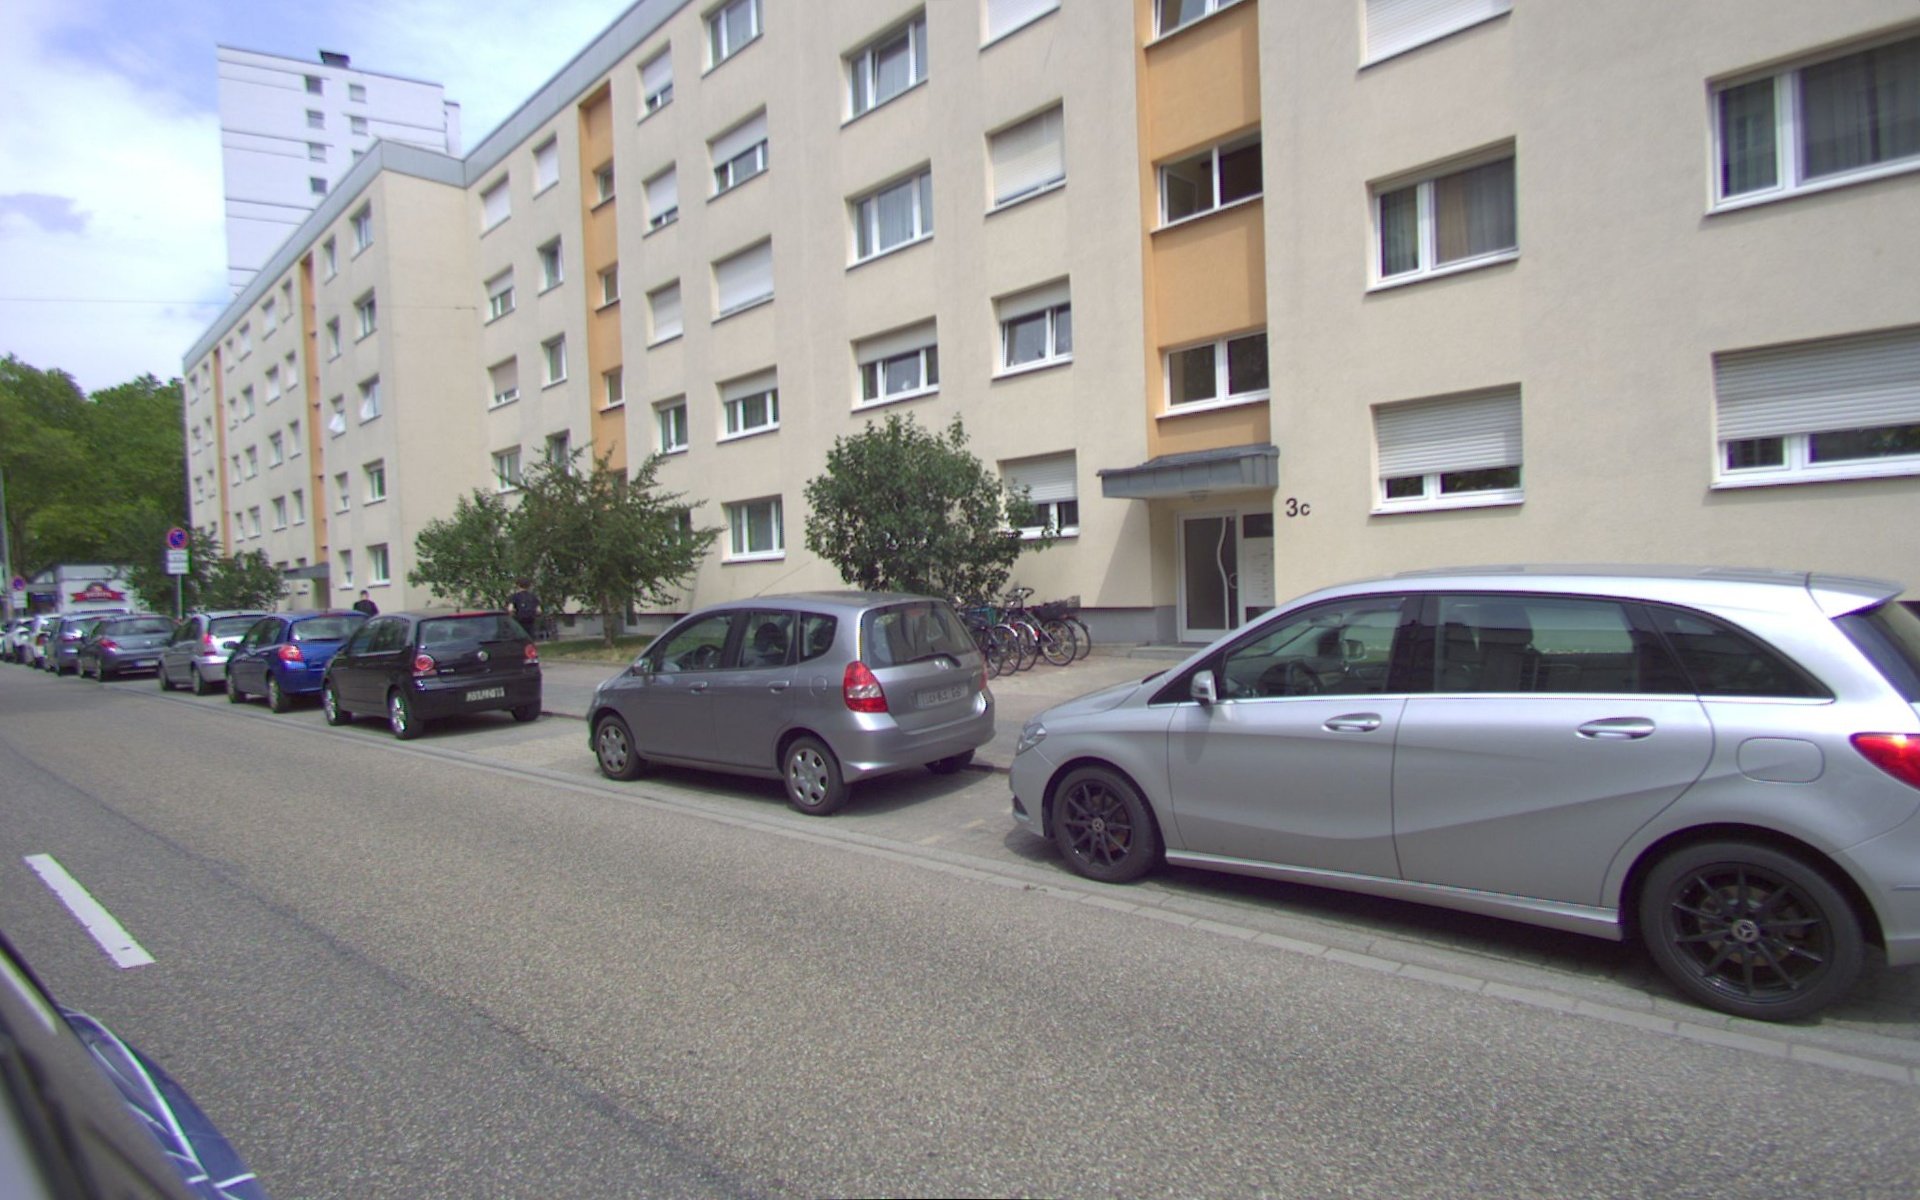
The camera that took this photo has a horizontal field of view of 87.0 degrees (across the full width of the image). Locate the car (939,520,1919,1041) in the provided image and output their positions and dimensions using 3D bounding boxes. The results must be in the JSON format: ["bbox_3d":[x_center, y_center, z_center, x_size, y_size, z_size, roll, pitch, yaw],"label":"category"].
[{"bbox_3d":[2.186,0.544,4.894,4.567,1.591,1.736,-2,2,42],"label":"car"}]

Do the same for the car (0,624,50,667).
[{"bbox_3d":[-35.960,1.708,38.394,3.989,1.483,1.690,-2,2,43],"label":"car"}]

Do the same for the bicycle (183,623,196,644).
[{"bbox_3d":[-40.071,1.738,52.611,0.406,1.045,1.808,-2,1,-40],"label":"bicycle"}]

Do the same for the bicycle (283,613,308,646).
[{"bbox_3d":[-26.439,1.176,40.282,0.549,1.260,1.920,-3,0,-40],"label":"bicycle"}]

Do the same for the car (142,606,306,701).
[{"bbox_3d":[-14.429,0.991,19.770,3.848,1.573,1.653,-2,2,40],"label":"car"}]

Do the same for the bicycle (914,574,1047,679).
[{"bbox_3d":[0.258,0.396,14.738,2.130,1.423,0.457,-3,0,44],"label":"bicycle"}]

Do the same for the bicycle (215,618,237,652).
[{"bbox_3d":[-28.178,1.333,38.842,0.571,1.260,1.937,-3,0,-38],"label":"bicycle"}]

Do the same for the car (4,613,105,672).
[{"bbox_3d":[-28.310,1.290,31.596,4.474,1.624,1.680,-2,2,40],"label":"car"}]

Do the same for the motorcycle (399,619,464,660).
[{"bbox_3d":[-13.774,1.023,26.352,2.316,0.993,0.655,-2,2,41],"label":"motorcycle"}]

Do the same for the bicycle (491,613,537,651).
[{"bbox_3d":[-12.210,0.865,27.673,1.673,0.993,0.435,-2,2,41],"label":"bicycle"}]

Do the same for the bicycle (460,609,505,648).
[{"bbox_3d":[-12.810,0.772,27.118,1.615,0.993,0.435,-2,2,41],"label":"bicycle"}]

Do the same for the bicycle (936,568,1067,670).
[{"bbox_3d":[0.587,0.306,15.185,2.130,1.436,0.457,-3,0,44],"label":"bicycle"}]

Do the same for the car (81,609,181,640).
[{"bbox_3d":[-50.299,1.463,61.432,4.576,1.699,1.851,-1,-1,-43],"label":"car"}]

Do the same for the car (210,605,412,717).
[{"bbox_3d":[-10.603,0.911,16.435,3.885,1.494,1.798,-2,2,43],"label":"car"}]

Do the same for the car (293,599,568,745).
[{"bbox_3d":[-6.916,0.821,13.034,4.116,1.494,1.799,-2,2,43],"label":"car"}]

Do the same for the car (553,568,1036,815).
[{"bbox_3d":[-1.522,0.637,8.383,4.001,1.551,1.705,-3,0,40],"label":"car"}]

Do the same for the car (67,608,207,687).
[{"bbox_3d":[-20.013,1.108,24.547,4.300,1.624,1.922,-2,2,42],"label":"car"}]

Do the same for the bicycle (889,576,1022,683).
[{"bbox_3d":[-0.109,0.425,14.324,0.457,1.404,2.131,-3,0,-45],"label":"bicycle"}]

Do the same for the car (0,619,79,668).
[{"bbox_3d":[-32.186,1.489,35.144,3.985,1.483,1.692,-2,2,40],"label":"car"}]

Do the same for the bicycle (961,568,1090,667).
[{"bbox_3d":[0.977,0.287,15.627,2.130,1.436,0.457,-3,0,44],"label":"bicycle"}]

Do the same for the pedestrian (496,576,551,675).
[{"bbox_3d":[-8.265,0.480,19.148,0.803,1.826,0.613,-2,0,39],"label":"pedestrian"}]

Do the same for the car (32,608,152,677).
[{"bbox_3d":[-24.181,1.130,28.129,4.861,1.624,1.922,-2,2,43],"label":"car"}]

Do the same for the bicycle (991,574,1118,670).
[{"bbox_3d":[1.457,0.361,15.995,2.130,1.436,0.457,-3,0,44],"label":"bicycle"}]

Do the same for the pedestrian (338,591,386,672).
[{"bbox_3d":[-14.023,0.737,23.726,0.898,1.826,0.613,-2,2,39],"label":"pedestrian"}]
